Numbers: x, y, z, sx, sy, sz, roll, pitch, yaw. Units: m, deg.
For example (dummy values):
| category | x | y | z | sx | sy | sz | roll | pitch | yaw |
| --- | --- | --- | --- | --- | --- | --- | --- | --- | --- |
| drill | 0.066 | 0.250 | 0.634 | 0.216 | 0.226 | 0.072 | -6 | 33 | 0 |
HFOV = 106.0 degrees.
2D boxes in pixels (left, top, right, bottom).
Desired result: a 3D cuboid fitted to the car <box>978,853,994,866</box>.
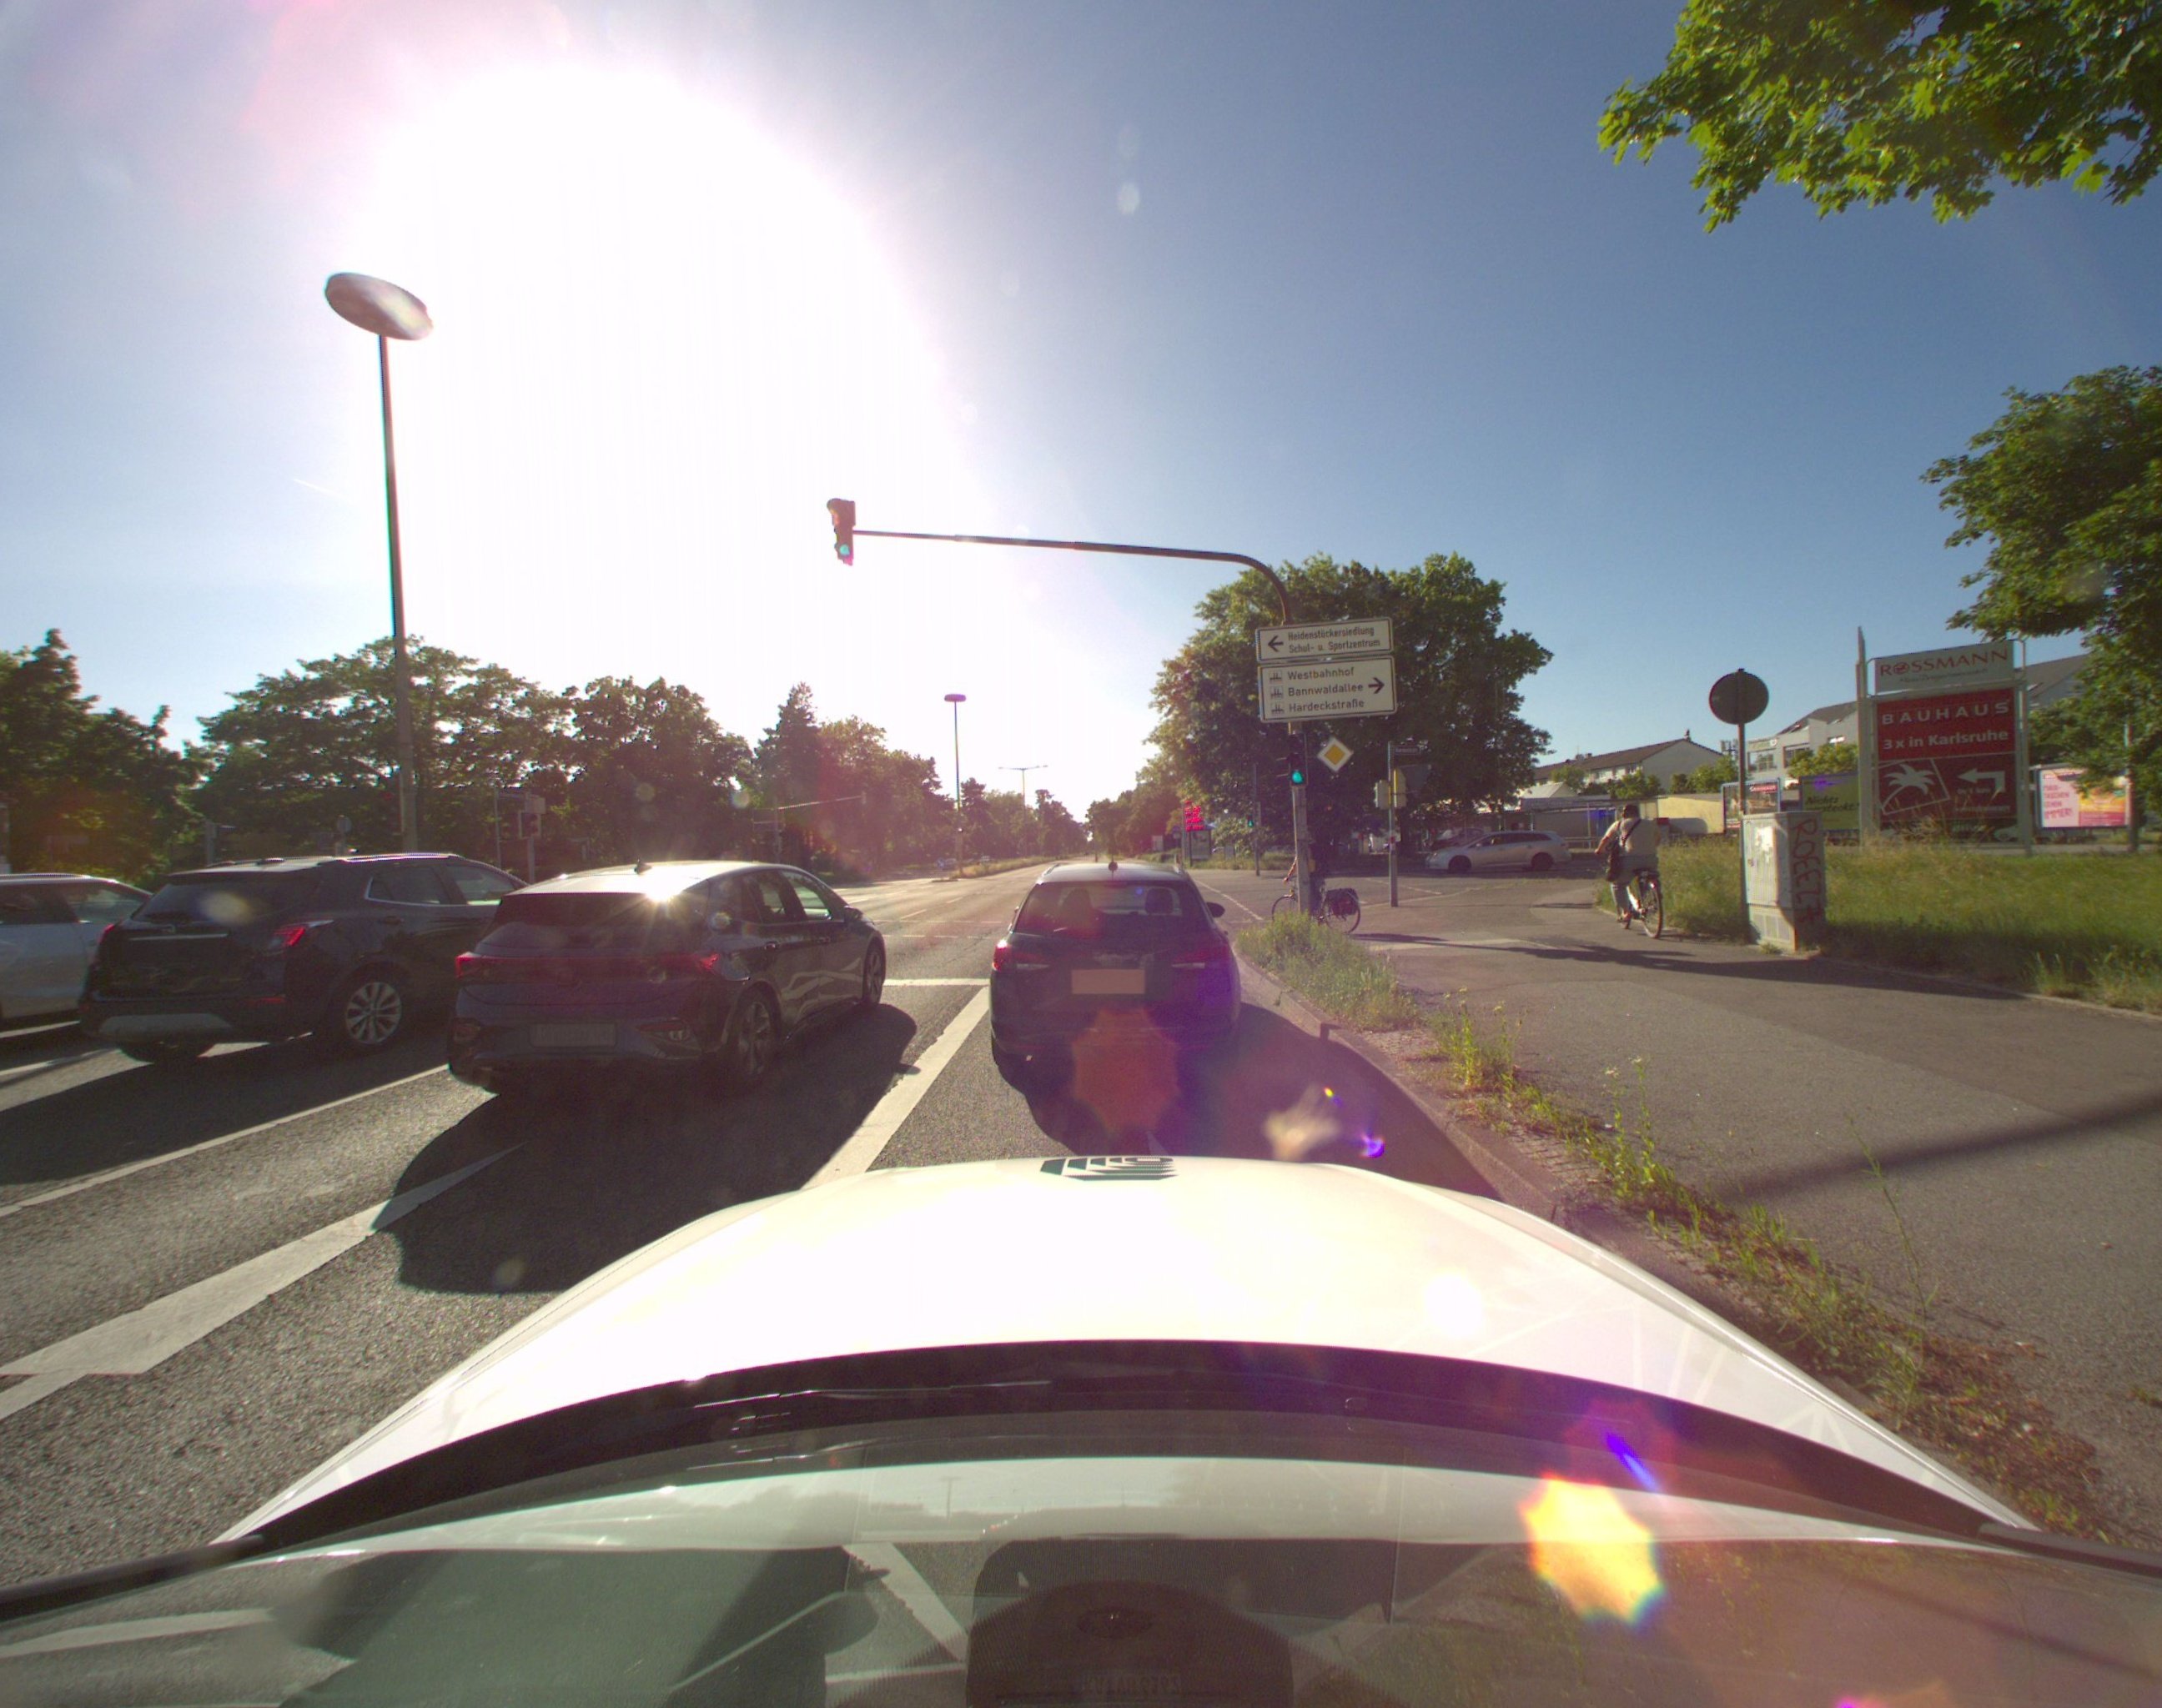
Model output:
| category | x | y | z | sx | sy | sz | roll | pitch | yaw |
| --- | --- | --- | --- | --- | --- | --- | --- | --- | --- |
| car | -15.629 | 0.826 | 134.169 | 1.986 | 2.013 | 4.001 | -3 | 0 | 1 |

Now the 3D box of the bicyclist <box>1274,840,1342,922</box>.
| category | x | y | z | sx | sy | sz | roll | pitch | yaw |
| --- | --- | --- | --- | --- | --- | --- | --- | --- | --- |
| bicyclist | 3.720 | 0.450 | 13.379 | 0.541 | 1.277 | 0.819 | -3 | -2 | -42 |

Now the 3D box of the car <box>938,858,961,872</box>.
| category | x | y | z | sx | sy | sz | roll | pitch | yaw |
| --- | --- | --- | --- | --- | --- | --- | --- | --- | --- |
| car | -16.334 | 1.363 | 101.197 | 1.986 | 1.530 | 4.001 | -3 | 0 | 1 |

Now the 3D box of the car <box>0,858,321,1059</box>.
| category | x | y | z | sx | sy | sz | roll | pitch | yaw |
| --- | --- | --- | --- | --- | --- | --- | --- | --- | --- |
| car | -10.223 | 0.949 | 7.925 | 1.824 | 1.702 | 3.999 | -3 | 0 | 0 |

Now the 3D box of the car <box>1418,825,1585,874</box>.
| category | x | y | z | sx | sy | sz | roll | pitch | yaw |
| --- | --- | --- | --- | --- | --- | --- | --- | --- | --- |
| car | 14.966 | -0.160 | 29.297 | 4.969 | 1.486 | 2.007 | -2 | 0 | 13 |

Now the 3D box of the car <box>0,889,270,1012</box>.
| category | x | y | z | sx | sy | sz | roll | pitch | yaw |
| --- | --- | --- | --- | --- | --- | --- | --- | --- | --- |
| car | -15.176 | 1.394 | 12.188 | 1.769 | 1.463 | 4.166 | -3 | 0 | 2 |

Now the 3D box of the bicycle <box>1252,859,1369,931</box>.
| category | x | y | z | sx | sy | sz | roll | pitch | yaw |
| --- | --- | --- | --- | --- | --- | --- | --- | --- | --- |
| bicycle | 3.733 | 0.691 | 13.376 | 0.541 | 1.097 | 1.755 | -3 | -2 | -42 |

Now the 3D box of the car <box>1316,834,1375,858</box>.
| category | x | y | z | sx | sy | sz | roll | pitch | yaw |
| --- | --- | --- | --- | --- | --- | --- | --- | --- | --- |
| car | 19.330 | -0.601 | 59.529 | 3.903 | 1.517 | 1.733 | -3 | 0 | -21 |

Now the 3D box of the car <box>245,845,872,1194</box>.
| category | x | y | z | sx | sy | sz | roll | pitch | yaw |
| --- | --- | --- | --- | --- | --- | --- | --- | --- | --- |
| car | -2.958 | 0.775 | 5.860 | 1.678 | 1.580 | 4.208 | -1 | 0 | 2 |

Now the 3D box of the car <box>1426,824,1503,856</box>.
| category | x | y | z | sx | sy | sz | roll | pitch | yaw |
| --- | --- | --- | --- | --- | --- | --- | --- | --- | --- |
| car | 22.380 | -0.803 | 47.529 | 4.002 | 1.680 | 1.733 | -3 | 0 | -21 |

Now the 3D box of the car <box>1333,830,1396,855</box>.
| category | x | y | z | sx | sy | sz | roll | pitch | yaw |
| --- | --- | --- | --- | --- | --- | --- | --- | --- | --- |
| car | 19.665 | -0.809 | 56.437 | 3.903 | 1.517 | 1.733 | -3 | 0 | -21 |

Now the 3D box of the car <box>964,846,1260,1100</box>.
| category | x | y | z | sx | sy | sz | roll | pitch | yaw |
| --- | --- | --- | --- | --- | --- | --- | --- | --- | --- |
| car | 0.251 | 0.728 | 6.985 | 1.750 | 1.495 | 4.208 | -1 | 0 | 2 |

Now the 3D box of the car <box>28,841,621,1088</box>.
| category | x | y | z | sx | sy | sz | roll | pitch | yaw |
| --- | --- | --- | --- | --- | --- | --- | --- | --- | --- |
| car | -6.544 | 0.785 | 7.818 | 1.798 | 1.689 | 4.002 | -3 | 0 | 2 |

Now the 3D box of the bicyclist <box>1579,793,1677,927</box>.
| category | x | y | z | sx | sy | sz | roll | pitch | yaw |
| --- | --- | --- | --- | --- | --- | --- | --- | --- | --- |
| bicyclist | 6.931 | 0.072 | 10.369 | 0.575 | 1.581 | 1.000 | -4 | -1 | 9 |

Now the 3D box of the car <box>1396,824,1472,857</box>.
| category | x | y | z | sx | sy | sz | roll | pitch | yaw |
| --- | --- | --- | --- | --- | --- | --- | --- | --- | --- |
| car | 21.392 | -0.832 | 49.377 | 4.003 | 1.749 | 1.985 | -4 | 1 | -22 |

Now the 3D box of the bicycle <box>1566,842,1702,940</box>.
| category | x | y | z | sx | sy | sz | roll | pitch | yaw |
| --- | --- | --- | --- | --- | --- | --- | --- | --- | --- |
| bicycle | 6.954 | 0.421 | 10.368 | 0.575 | 1.097 | 1.993 | -4 | 0 | 9 |
